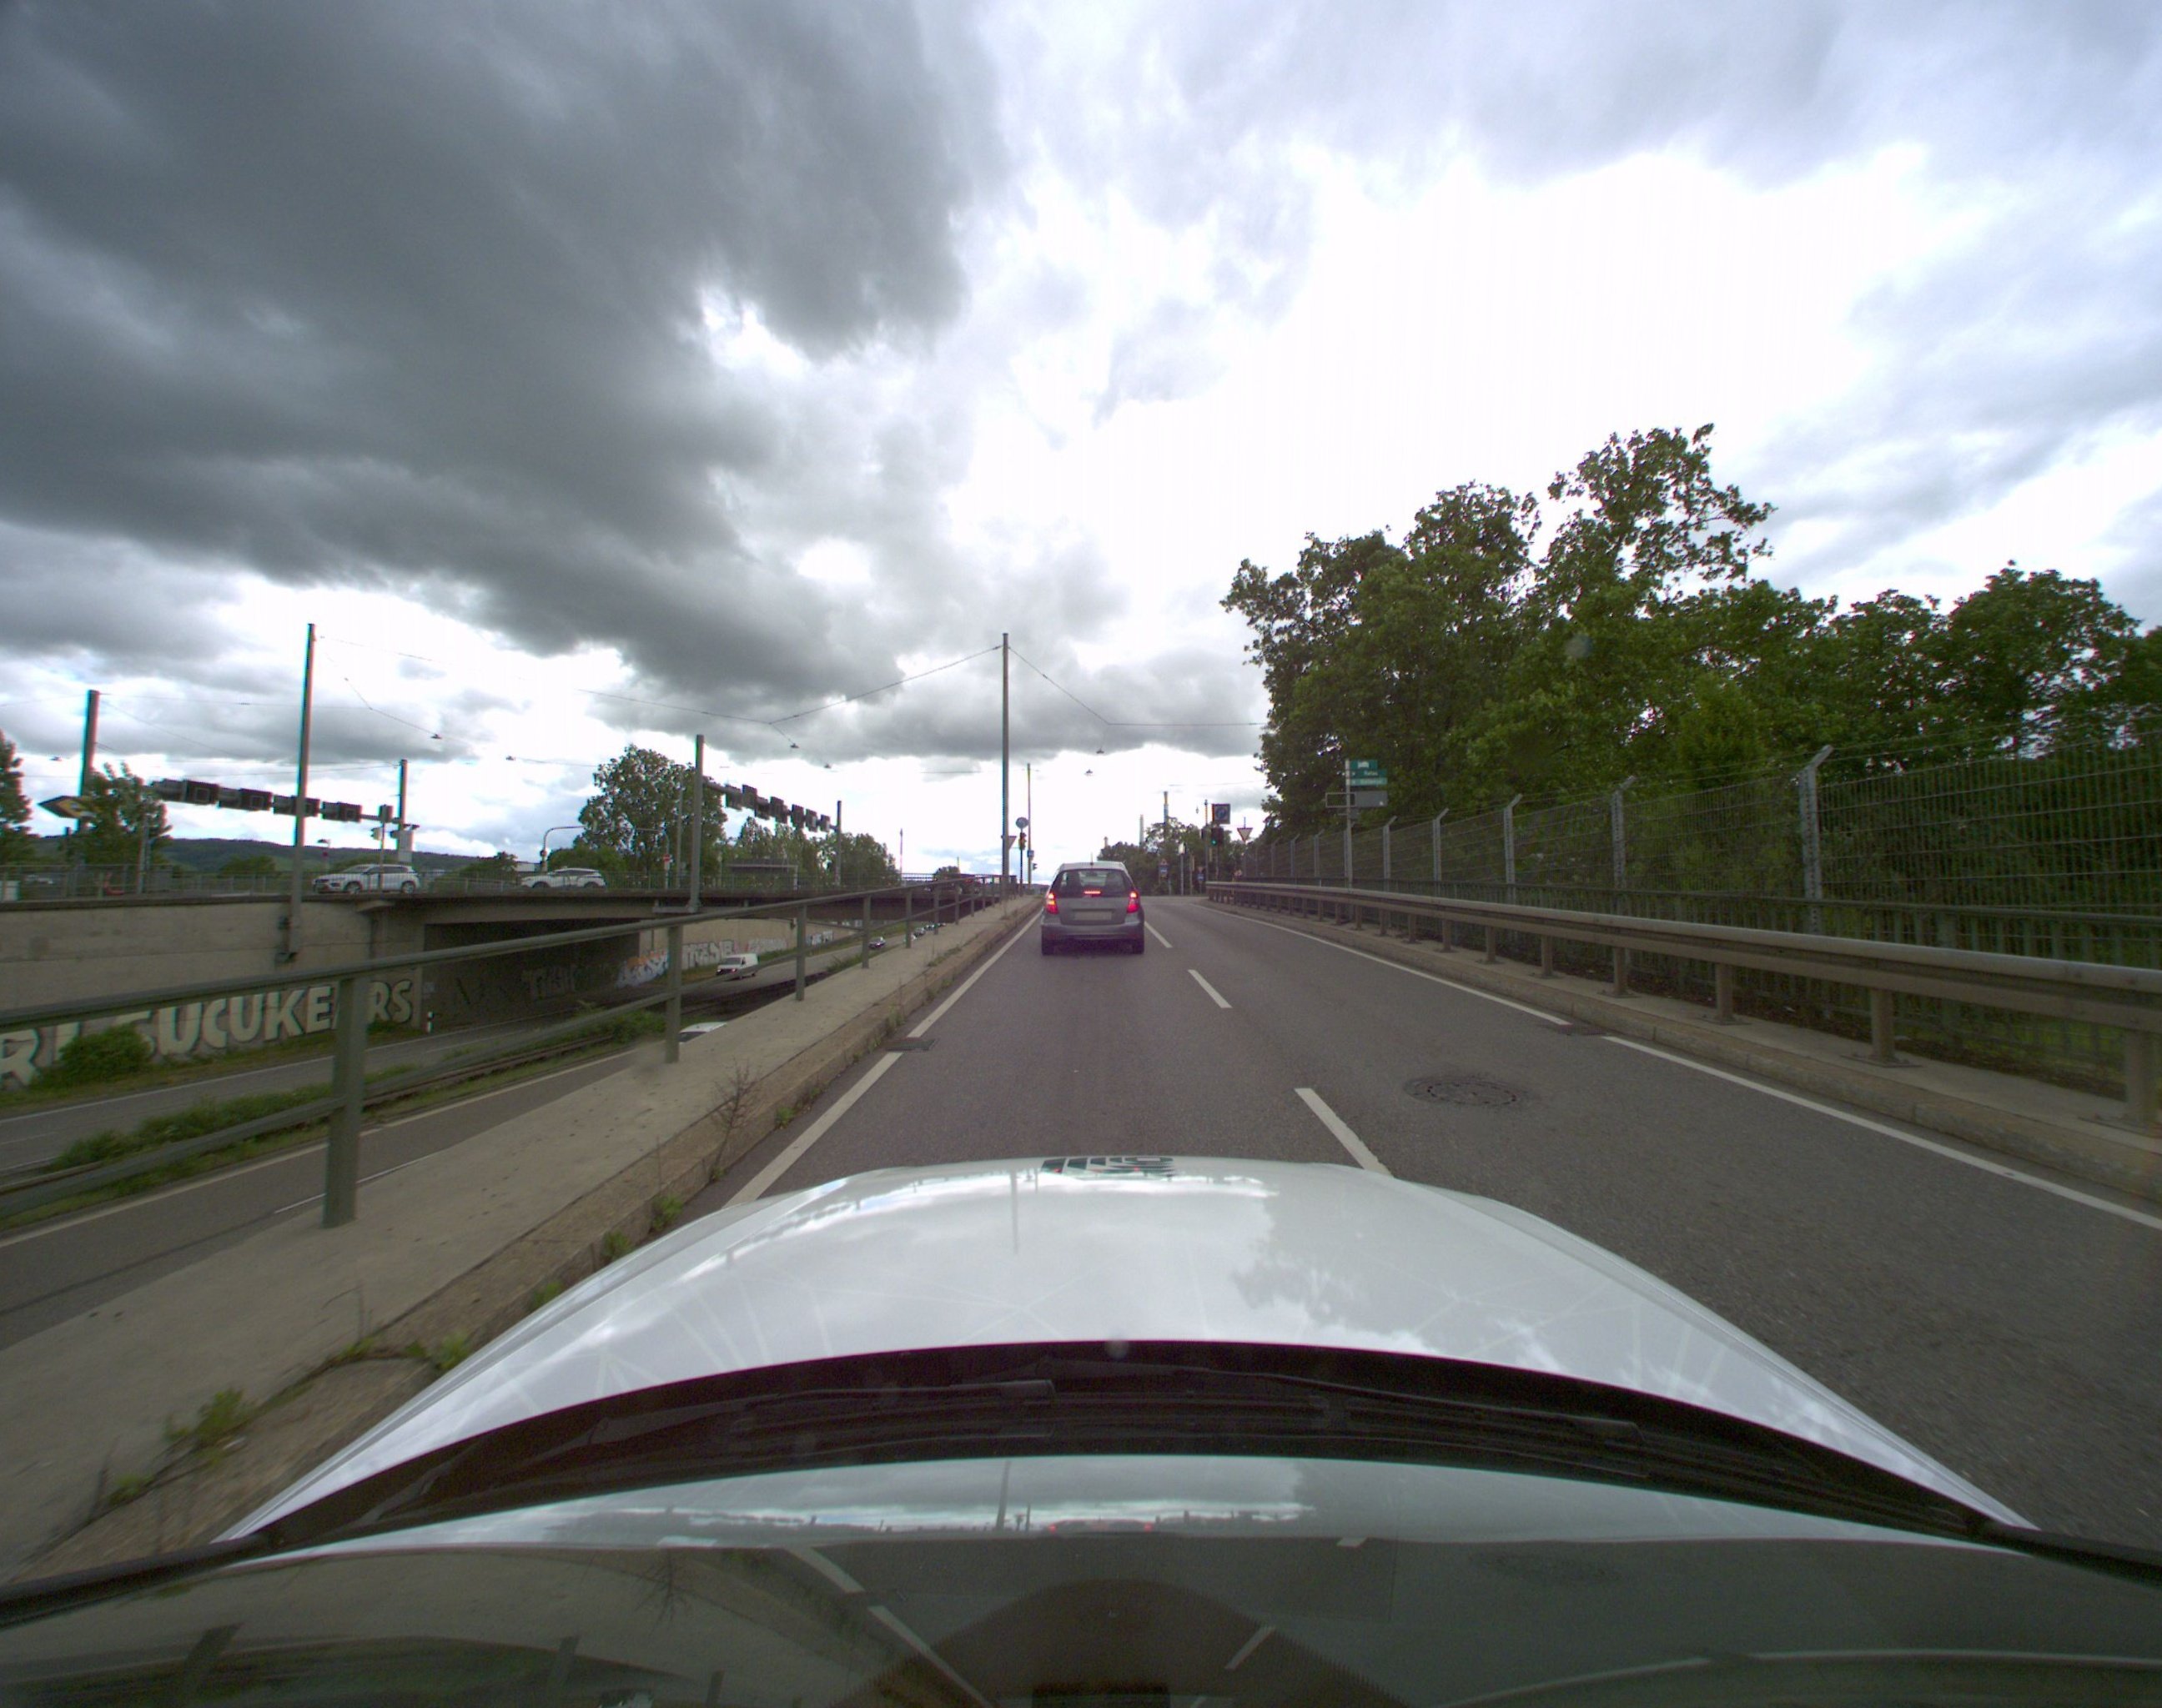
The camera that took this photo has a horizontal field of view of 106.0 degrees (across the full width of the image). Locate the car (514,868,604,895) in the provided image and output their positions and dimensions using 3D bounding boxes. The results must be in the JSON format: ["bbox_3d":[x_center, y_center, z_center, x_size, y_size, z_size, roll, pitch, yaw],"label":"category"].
[{"bbox_3d":[-31.775,1.655,49.670,4.370,1.576,1.816,0,-2,-43],"label":"car"}]

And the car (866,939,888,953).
[{"bbox_3d":[-28.229,12.750,112.943,1.910,1.739,4.549,-2,-4,-1],"label":"car"}]

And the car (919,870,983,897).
[{"bbox_3d":[-8.692,1.982,54.737,3.976,1.717,1.936,-1,-1,-2],"label":"car"}]

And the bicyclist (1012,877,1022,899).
[{"bbox_3d":[-5.038,2.685,64.229,0.653,1.674,0.866,0,-1,-11],"label":"bicyclist"}]

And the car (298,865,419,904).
[{"bbox_3d":[-36.570,1.521,41.363,1.981,1.870,4.225,-1,-1,11],"label":"car"}]

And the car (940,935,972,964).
[{"bbox_3d":[-12.640,9.662,82.745,1.986,2.686,5.933,0,-5,2],"label":"car"}]

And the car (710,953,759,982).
[{"bbox_3d":[-29.198,9.557,68.797,1.988,2.067,5.172,0,-4,-2],"label":"car"}]

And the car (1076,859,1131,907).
[{"bbox_3d":[0.804,1.090,31.774,1.926,1.717,4.403,-1,-1,-1],"label":"car"}]

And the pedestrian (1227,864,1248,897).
[{"bbox_3d":[8.375,1.430,43.528,0.831,1.678,0.978,-1,-4,-3],"label":"pedestrian"}]

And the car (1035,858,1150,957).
[{"bbox_3d":[0.265,0.889,15.192,1.850,1.588,4.002,-1,-1,2],"label":"car"}]

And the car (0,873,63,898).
[{"bbox_3d":[-60.292,1.766,45.819,3.869,1.354,1.553,-1,-1,-2],"label":"car"}]

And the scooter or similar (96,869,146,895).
[{"bbox_3d":[-42.189,1.251,35.813,0.541,1.094,1.414,-1,-3,-4],"label":"scooter or similar"}]

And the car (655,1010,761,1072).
[{"bbox_3d":[-13.081,6.549,28.873,1.736,1.452,4.166,-1,-4,1],"label":"car"}]

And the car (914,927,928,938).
[{"bbox_3d":[-31.103,15.300,158.666,1.925,1.842,4.407,-1,-4,0],"label":"car"}]

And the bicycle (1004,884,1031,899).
[{"bbox_3d":[-5.047,2.971,64.208,2.033,1.125,0.926,0,-1,-11],"label":"bicycle"}]

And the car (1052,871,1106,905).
[{"bbox_3d":[-0.179,1.796,44.115,1.935,1.717,3.978,0,-1,-16],"label":"car"}]
